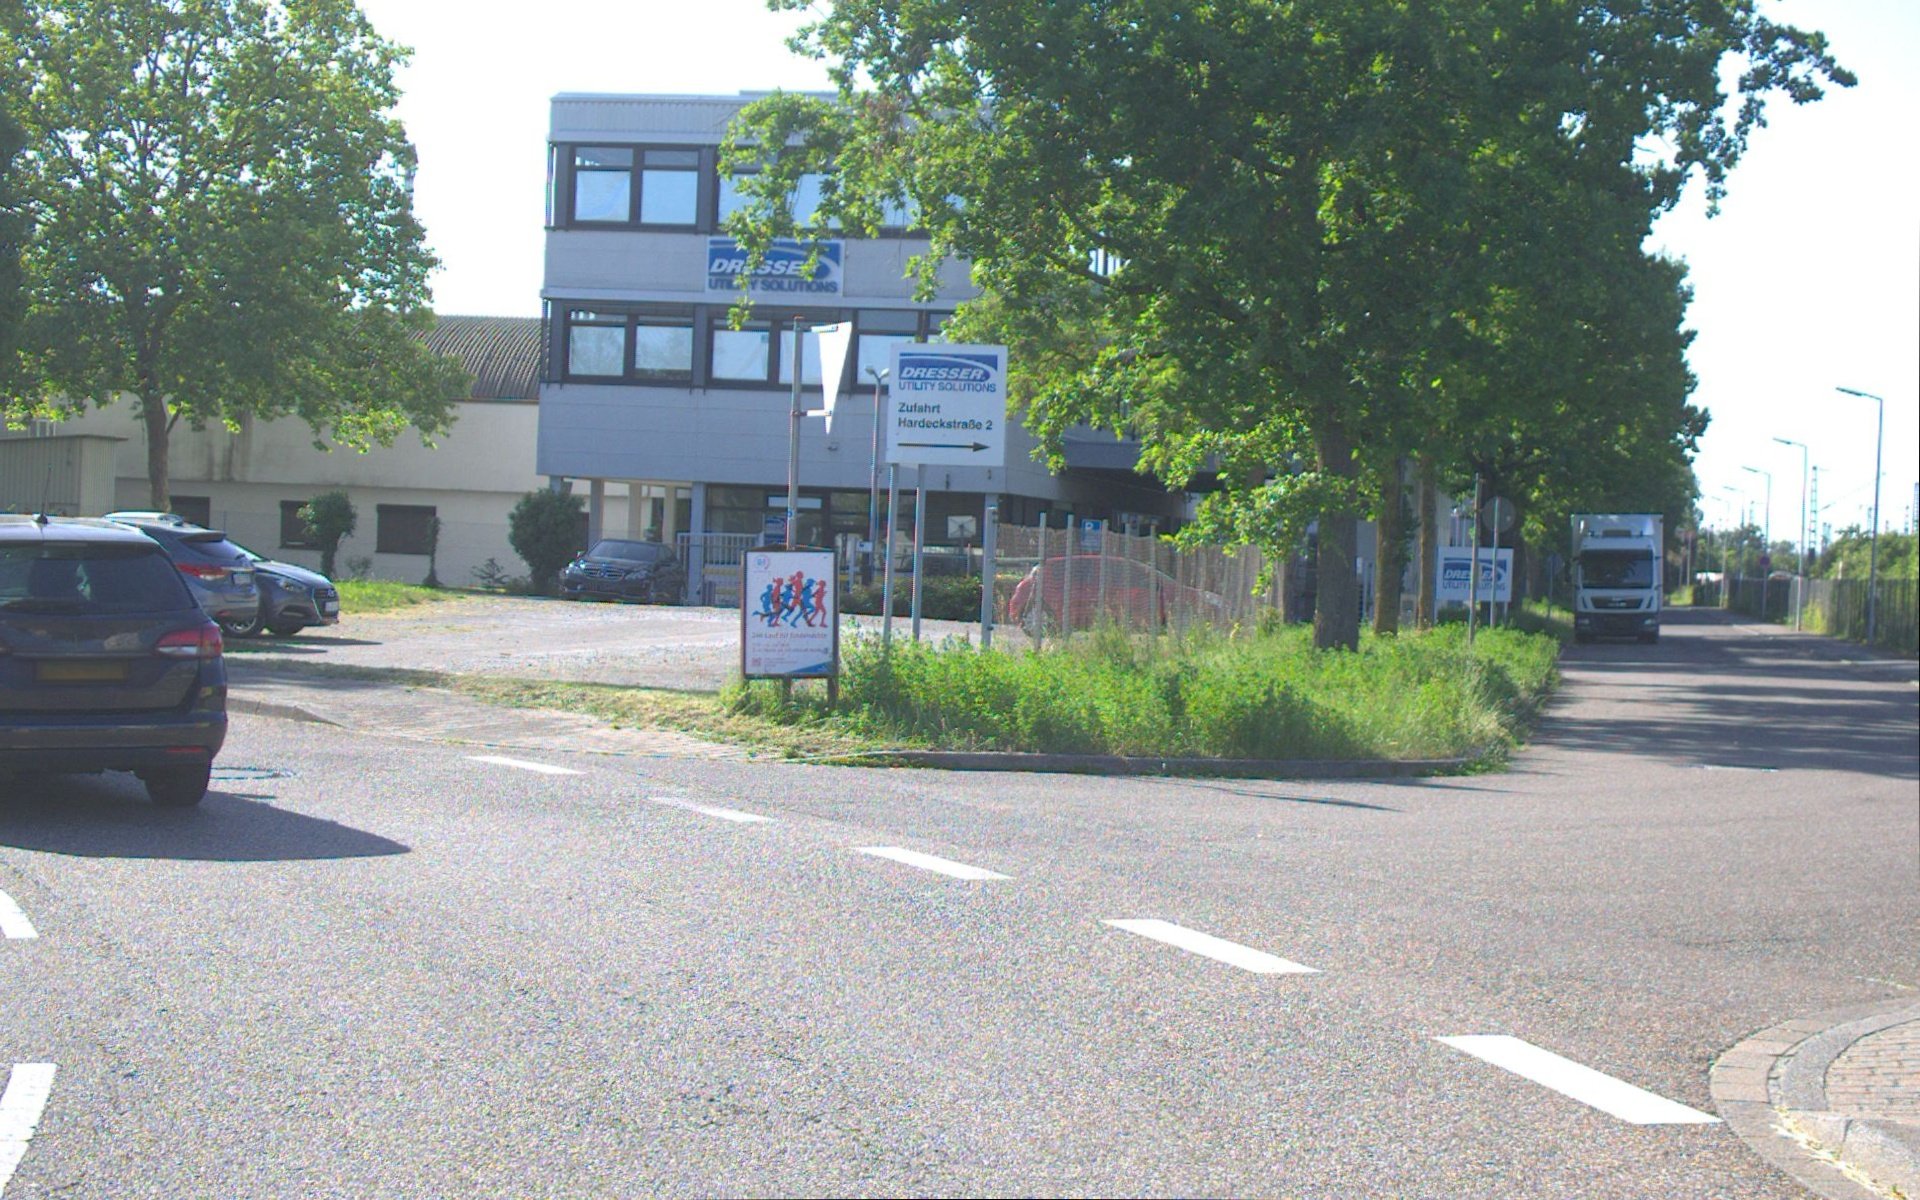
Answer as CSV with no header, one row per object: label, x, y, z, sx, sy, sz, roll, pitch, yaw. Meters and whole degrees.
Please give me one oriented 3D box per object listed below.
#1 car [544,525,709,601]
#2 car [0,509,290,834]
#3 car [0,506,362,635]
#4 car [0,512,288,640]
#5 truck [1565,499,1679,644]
car,-7.136,-0.827,74.080,1.995,1.479,4.924,3,2,14
car,-5.133,0.270,18.059,1.942,1.483,4.566,0,2,-27
car,-10.592,-0.410,45.314,4.913,1.479,1.999,3,1,11
car,-11.080,-0.346,42.759,4.913,1.421,1.999,3,1,11
truck,19.503,-0.843,101.868,2.614,3.872,13.527,3,1,9
